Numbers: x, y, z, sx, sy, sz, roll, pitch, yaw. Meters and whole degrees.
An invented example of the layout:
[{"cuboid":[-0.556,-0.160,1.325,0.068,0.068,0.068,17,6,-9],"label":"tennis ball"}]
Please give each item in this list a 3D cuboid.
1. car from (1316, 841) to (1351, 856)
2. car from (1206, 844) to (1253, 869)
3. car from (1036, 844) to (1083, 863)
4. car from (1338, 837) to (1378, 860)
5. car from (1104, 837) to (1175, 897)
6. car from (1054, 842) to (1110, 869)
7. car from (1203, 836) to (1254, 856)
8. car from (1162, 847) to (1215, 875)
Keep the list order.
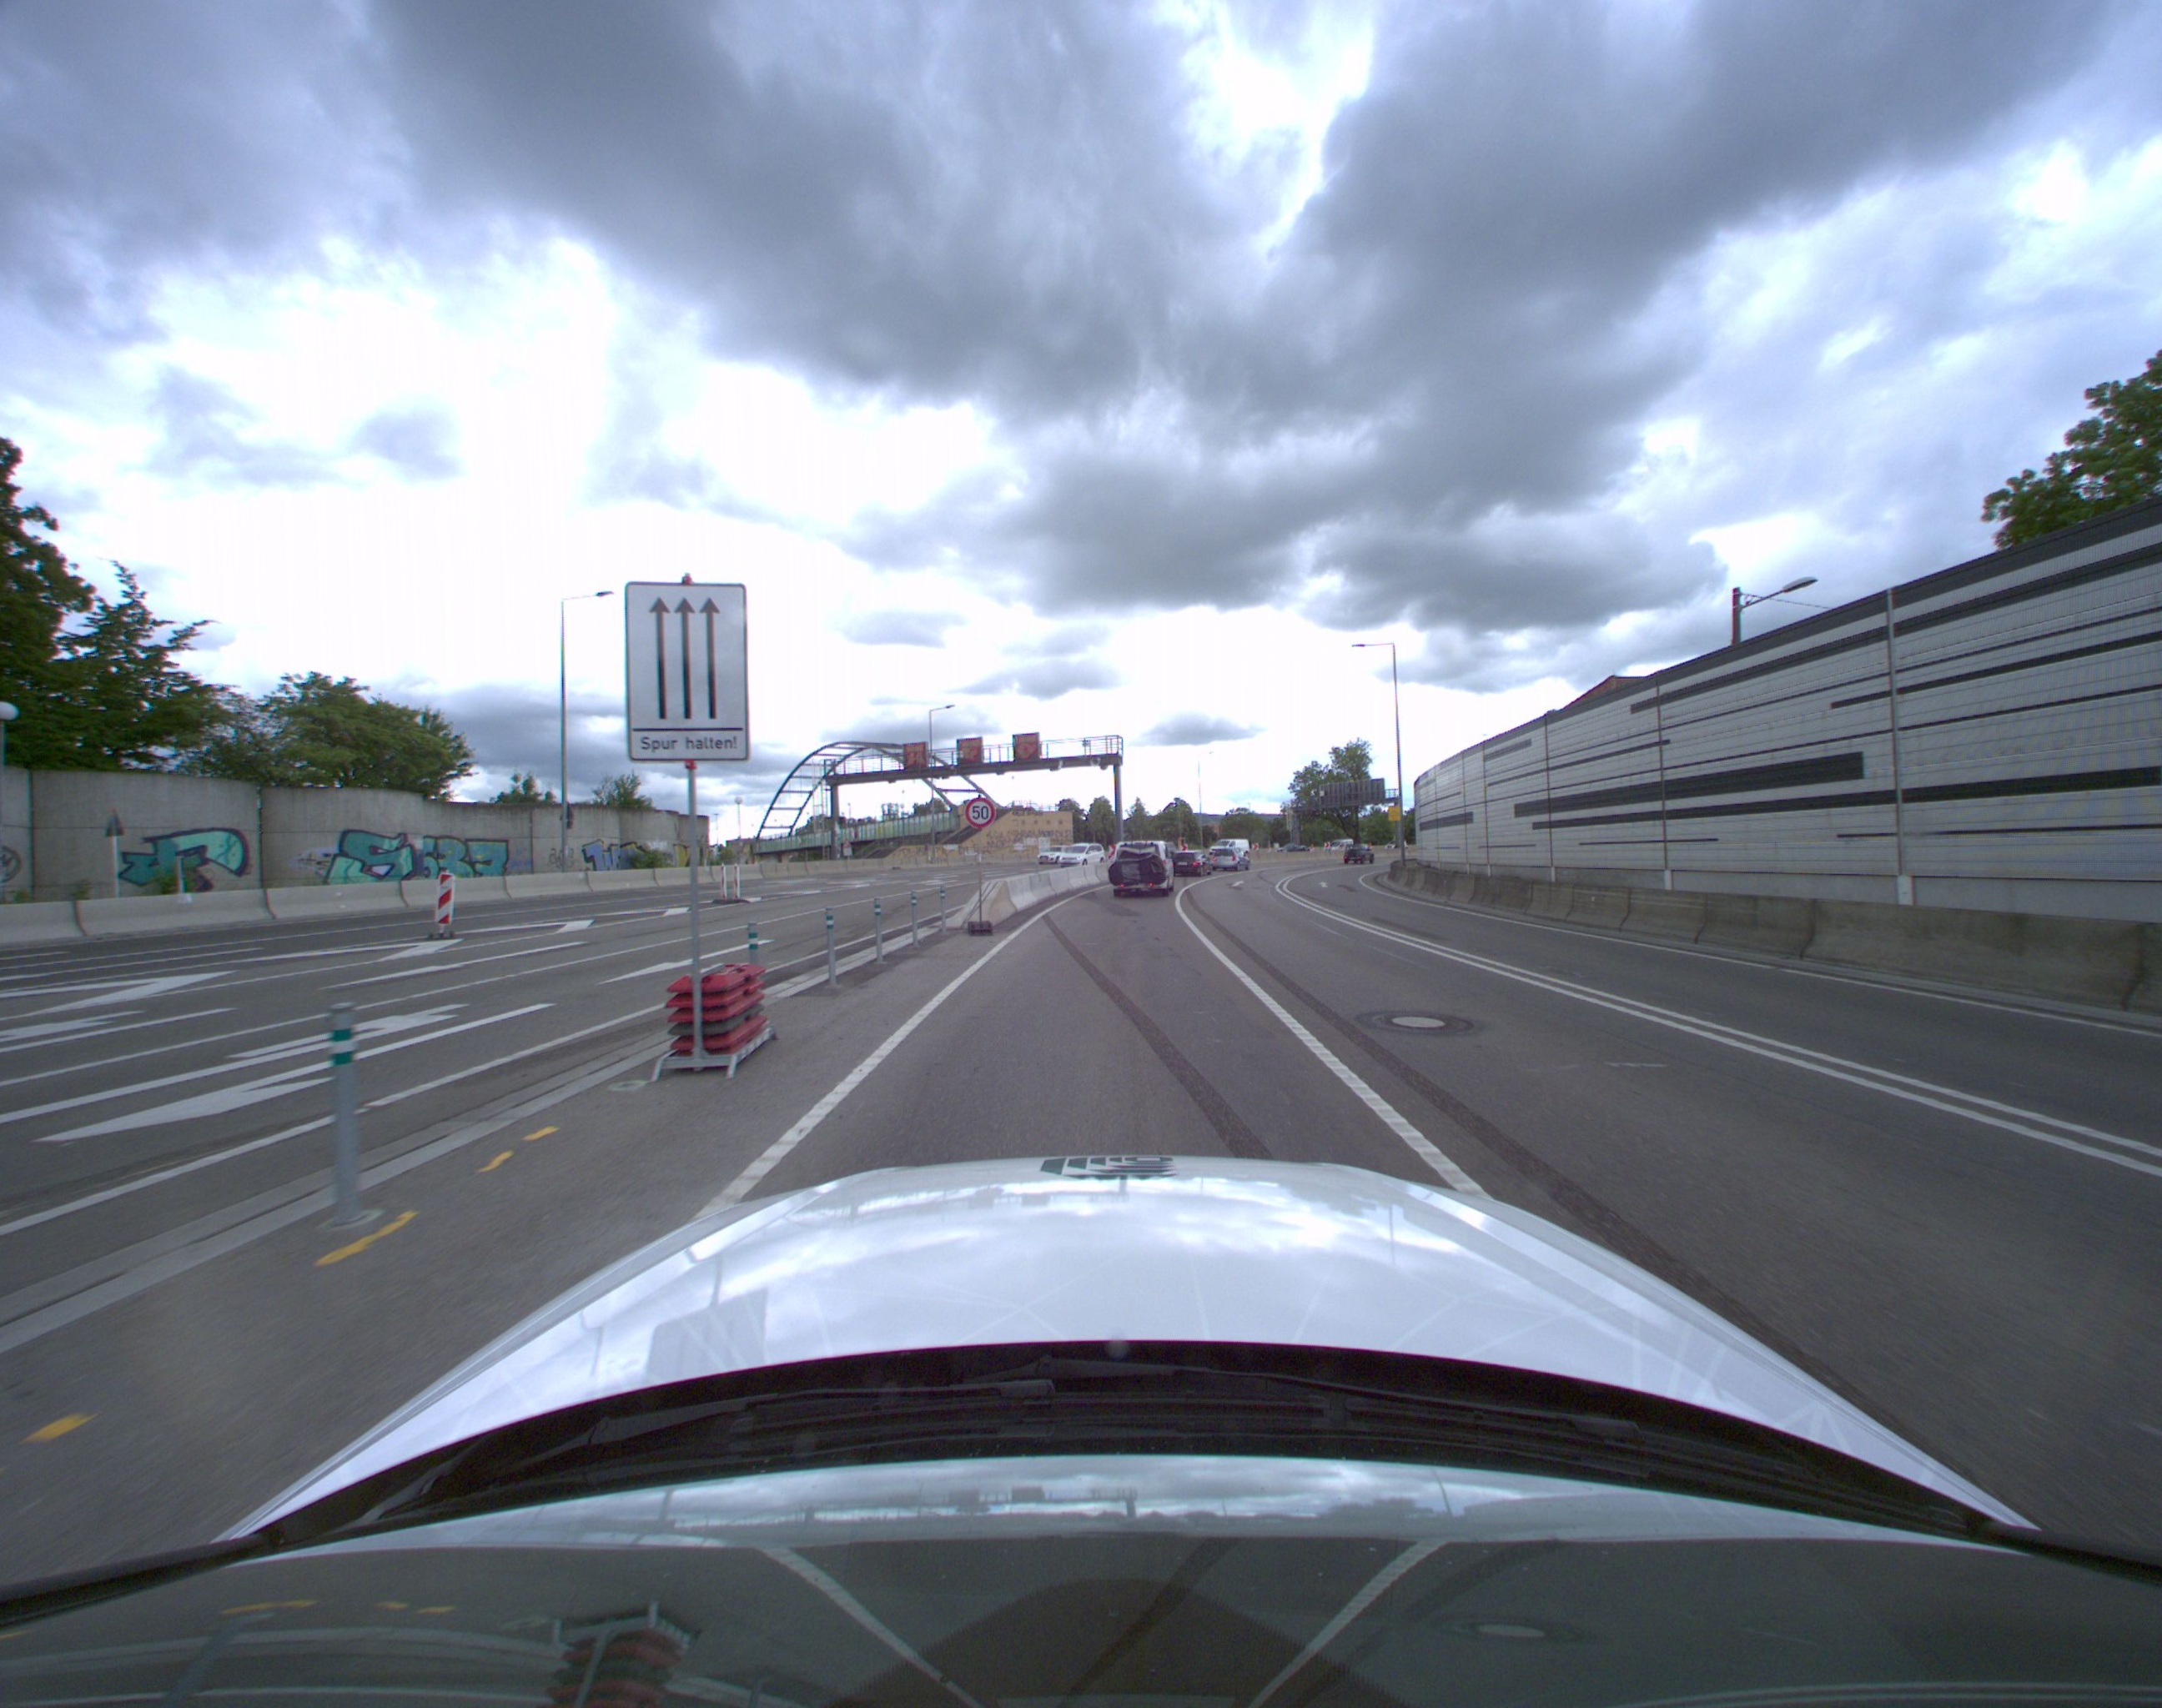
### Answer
[{"cuboid":[29.445,-0.683,94.872,4.284,1.686,1.975,-1,1,-44],"label":"car"},{"cuboid":[9.896,0.133,54.104,1.903,1.488,4.090,-1,1,27],"label":"car"},{"cuboid":[-1.705,-0.073,65.459,1.743,1.434,4.171,-2,0,32],"label":"car"},{"cuboid":[23.670,-0.451,69.446,1.974,1.860,4.025,-1,0,39],"label":"car"},{"cuboid":[2.164,0.402,28.422,1.981,1.859,5.655,-1,0,9],"label":"car"},{"cuboid":[0.139,0.076,57.909,1.932,1.750,5.304,-2,0,24],"label":"car"},{"cuboid":[14.774,-0.791,81.575,5.131,1.951,2.218,-1,0,-40],"label":"car"},{"cuboid":[6.029,0.351,45.412,1.798,1.434,4.088,-3,0,23],"label":"car"}]
